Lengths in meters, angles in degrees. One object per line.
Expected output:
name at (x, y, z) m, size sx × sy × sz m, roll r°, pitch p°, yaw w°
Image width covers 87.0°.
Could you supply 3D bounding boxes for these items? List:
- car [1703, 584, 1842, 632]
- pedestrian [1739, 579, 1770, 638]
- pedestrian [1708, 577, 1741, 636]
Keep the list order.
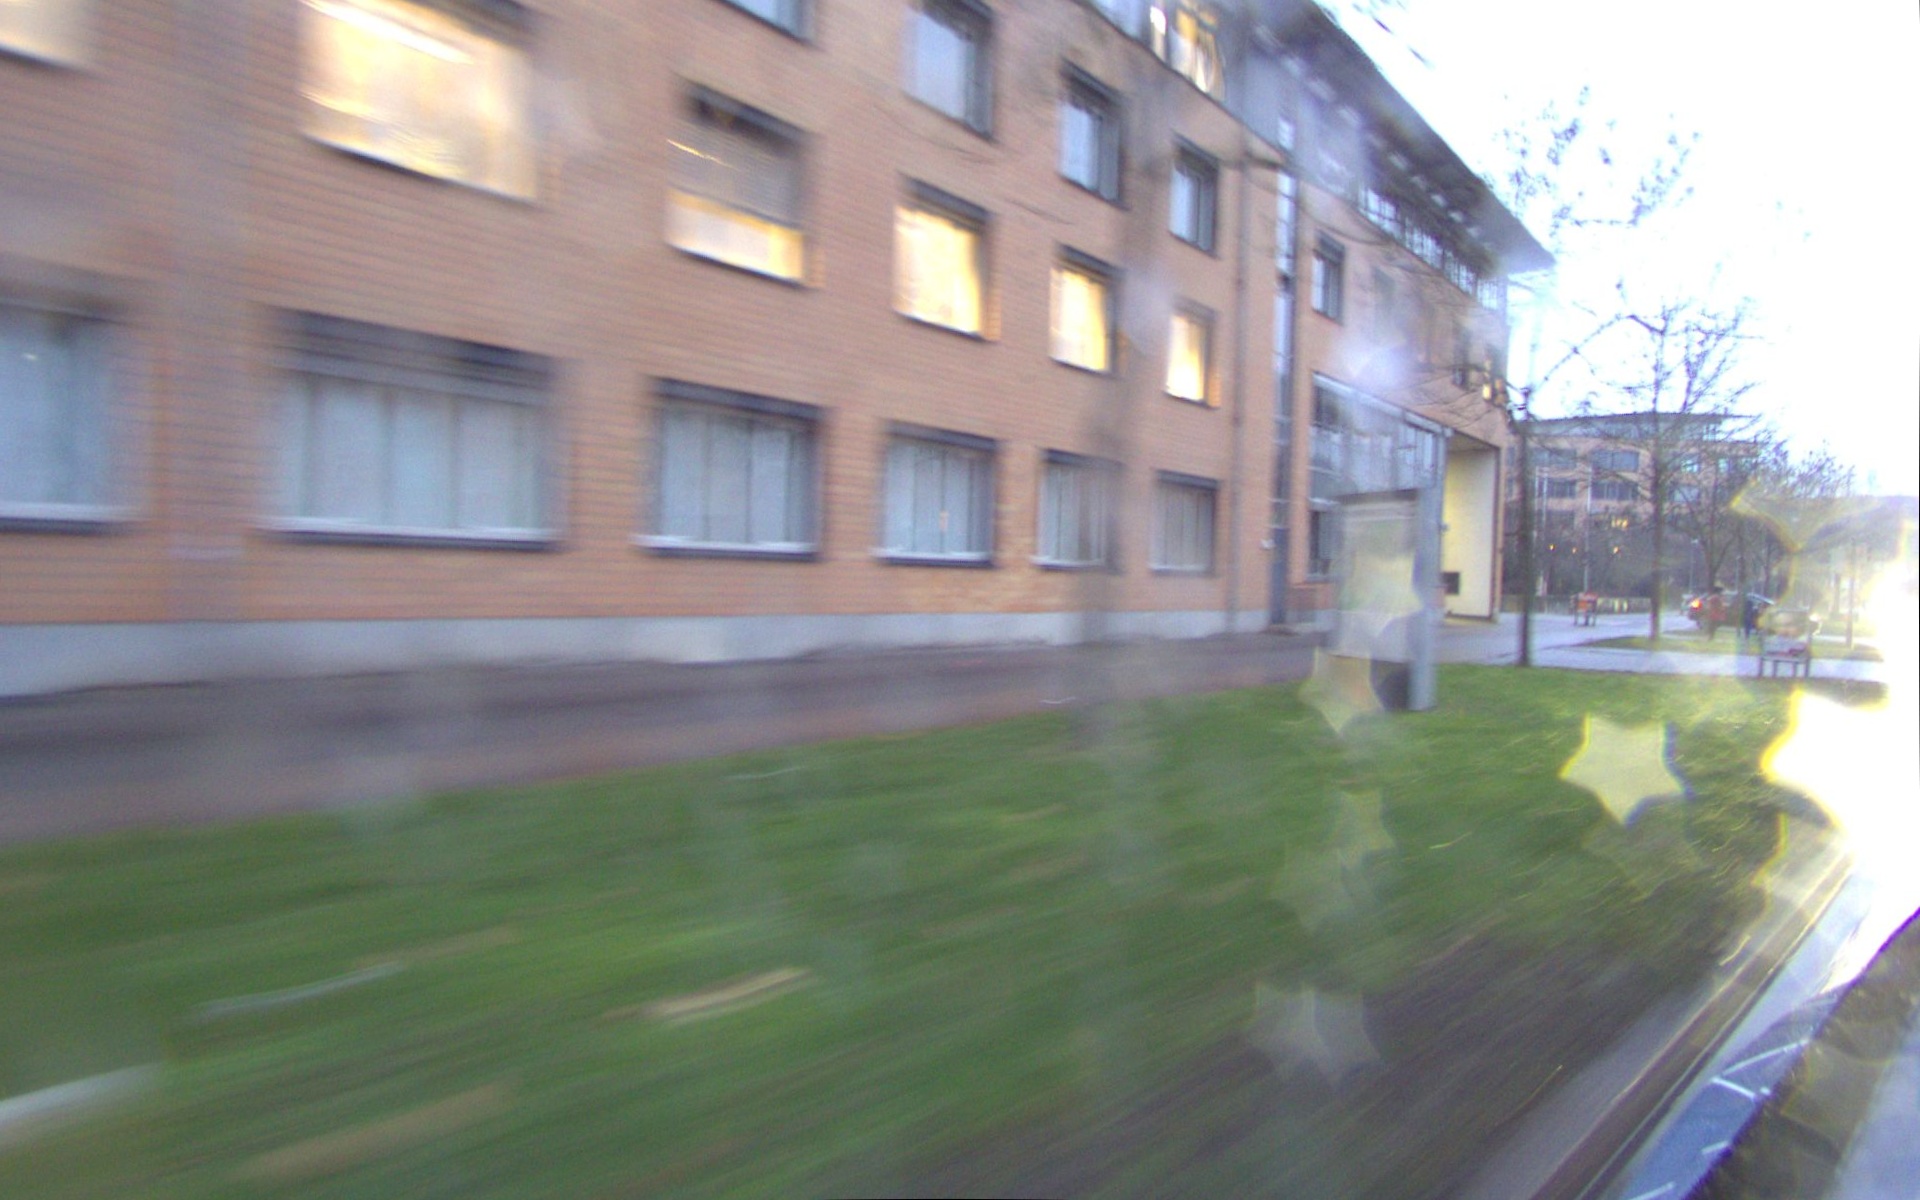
car at (31.303, 0.263, 39.052) m, size 3.990 × 1.574 × 1.714 m, roll 4°, pitch 3°, yaw 45°
pedestrian at (25.377, 0.251, 32.343) m, size 0.499 × 1.847 × 0.654 m, roll 2°, pitch 1°, yaw 17°
pedestrian at (23.458, 0.192, 31.046) m, size 0.497 × 1.763 × 0.656 m, roll 2°, pitch 1°, yaw 10°
